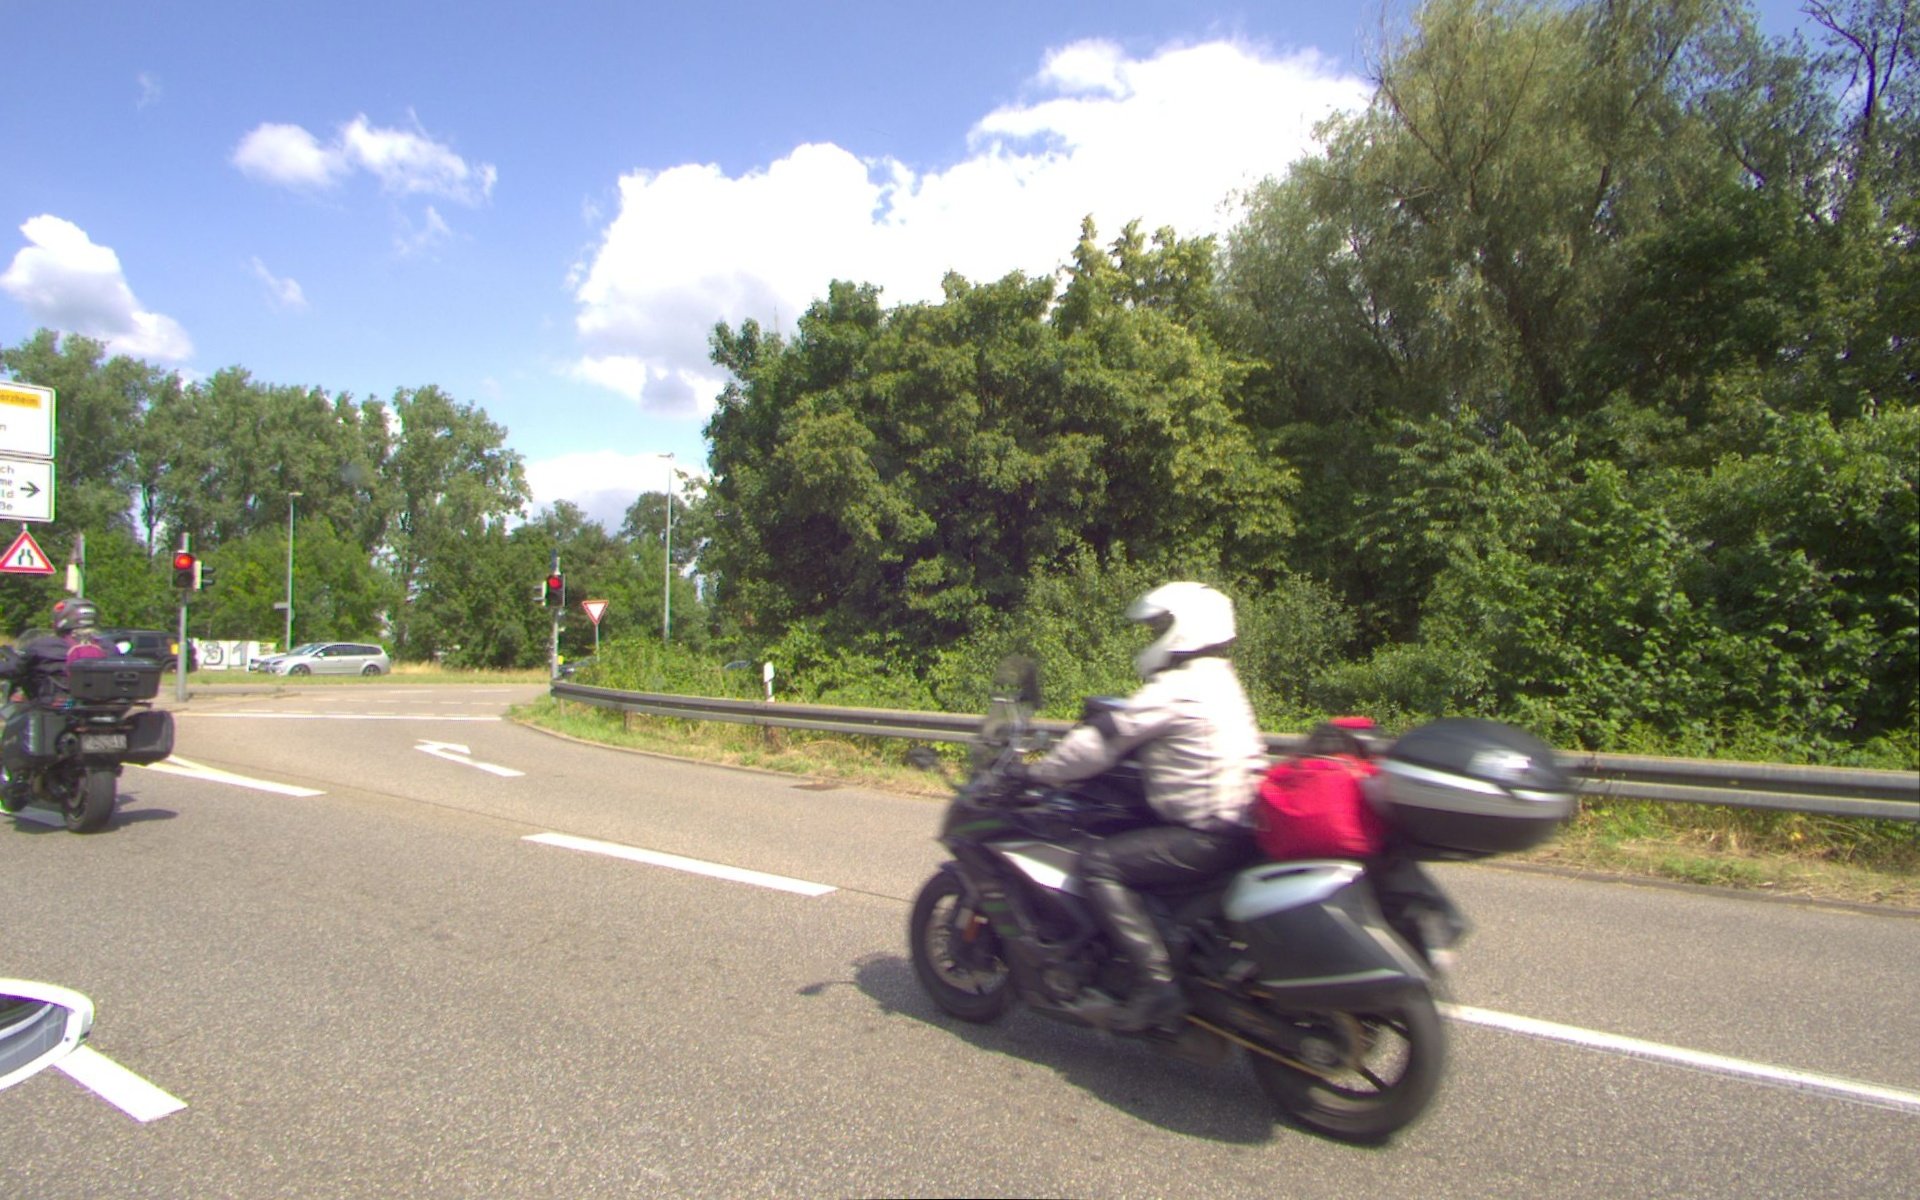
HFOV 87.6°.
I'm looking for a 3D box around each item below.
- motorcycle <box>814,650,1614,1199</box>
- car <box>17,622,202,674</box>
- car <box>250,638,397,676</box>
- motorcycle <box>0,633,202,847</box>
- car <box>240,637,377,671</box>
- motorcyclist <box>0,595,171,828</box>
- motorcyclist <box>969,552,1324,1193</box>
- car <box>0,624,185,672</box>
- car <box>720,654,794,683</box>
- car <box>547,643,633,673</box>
[{"bbox_3d":[0.714,0.892,3.256,2.336,1.406,0.864,0,-2,32],"label":"motorcycle"},{"bbox_3d":[-27.543,1.560,32.581,1.711,1.564,4.264,0,-3,31],"label":"car"},{"bbox_3d":[-24.193,2.150,38.257,1.710,1.337,4.471,0,-3,29],"label":"car"},{"bbox_3d":[-6.874,0.962,7.658,2.336,1.401,0.935,-1,-2,32],"label":"motorcycle"},{"bbox_3d":[-26.874,2.234,41.479,1.710,1.297,4.491,0,-3,29],"label":"car"},{"bbox_3d":[-6.810,0.795,7.623,1.068,1.611,0.935,0,-2,32],"label":"motorcyclist"},{"bbox_3d":[0.642,0.751,3.310,0.881,1.722,0.864,0,-2,32],"label":"motorcyclist"},{"bbox_3d":[-30.427,1.690,35.129,1.711,1.564,4.842,0,-3,31],"label":"car"},{"bbox_3d":[-10.890,3.659,54.002,1.921,1.436,3.961,0,-3,24],"label":"car"},{"bbox_3d":[-19.928,3.121,54.110,1.710,1.495,4.222,0,-3,29],"label":"car"}]
